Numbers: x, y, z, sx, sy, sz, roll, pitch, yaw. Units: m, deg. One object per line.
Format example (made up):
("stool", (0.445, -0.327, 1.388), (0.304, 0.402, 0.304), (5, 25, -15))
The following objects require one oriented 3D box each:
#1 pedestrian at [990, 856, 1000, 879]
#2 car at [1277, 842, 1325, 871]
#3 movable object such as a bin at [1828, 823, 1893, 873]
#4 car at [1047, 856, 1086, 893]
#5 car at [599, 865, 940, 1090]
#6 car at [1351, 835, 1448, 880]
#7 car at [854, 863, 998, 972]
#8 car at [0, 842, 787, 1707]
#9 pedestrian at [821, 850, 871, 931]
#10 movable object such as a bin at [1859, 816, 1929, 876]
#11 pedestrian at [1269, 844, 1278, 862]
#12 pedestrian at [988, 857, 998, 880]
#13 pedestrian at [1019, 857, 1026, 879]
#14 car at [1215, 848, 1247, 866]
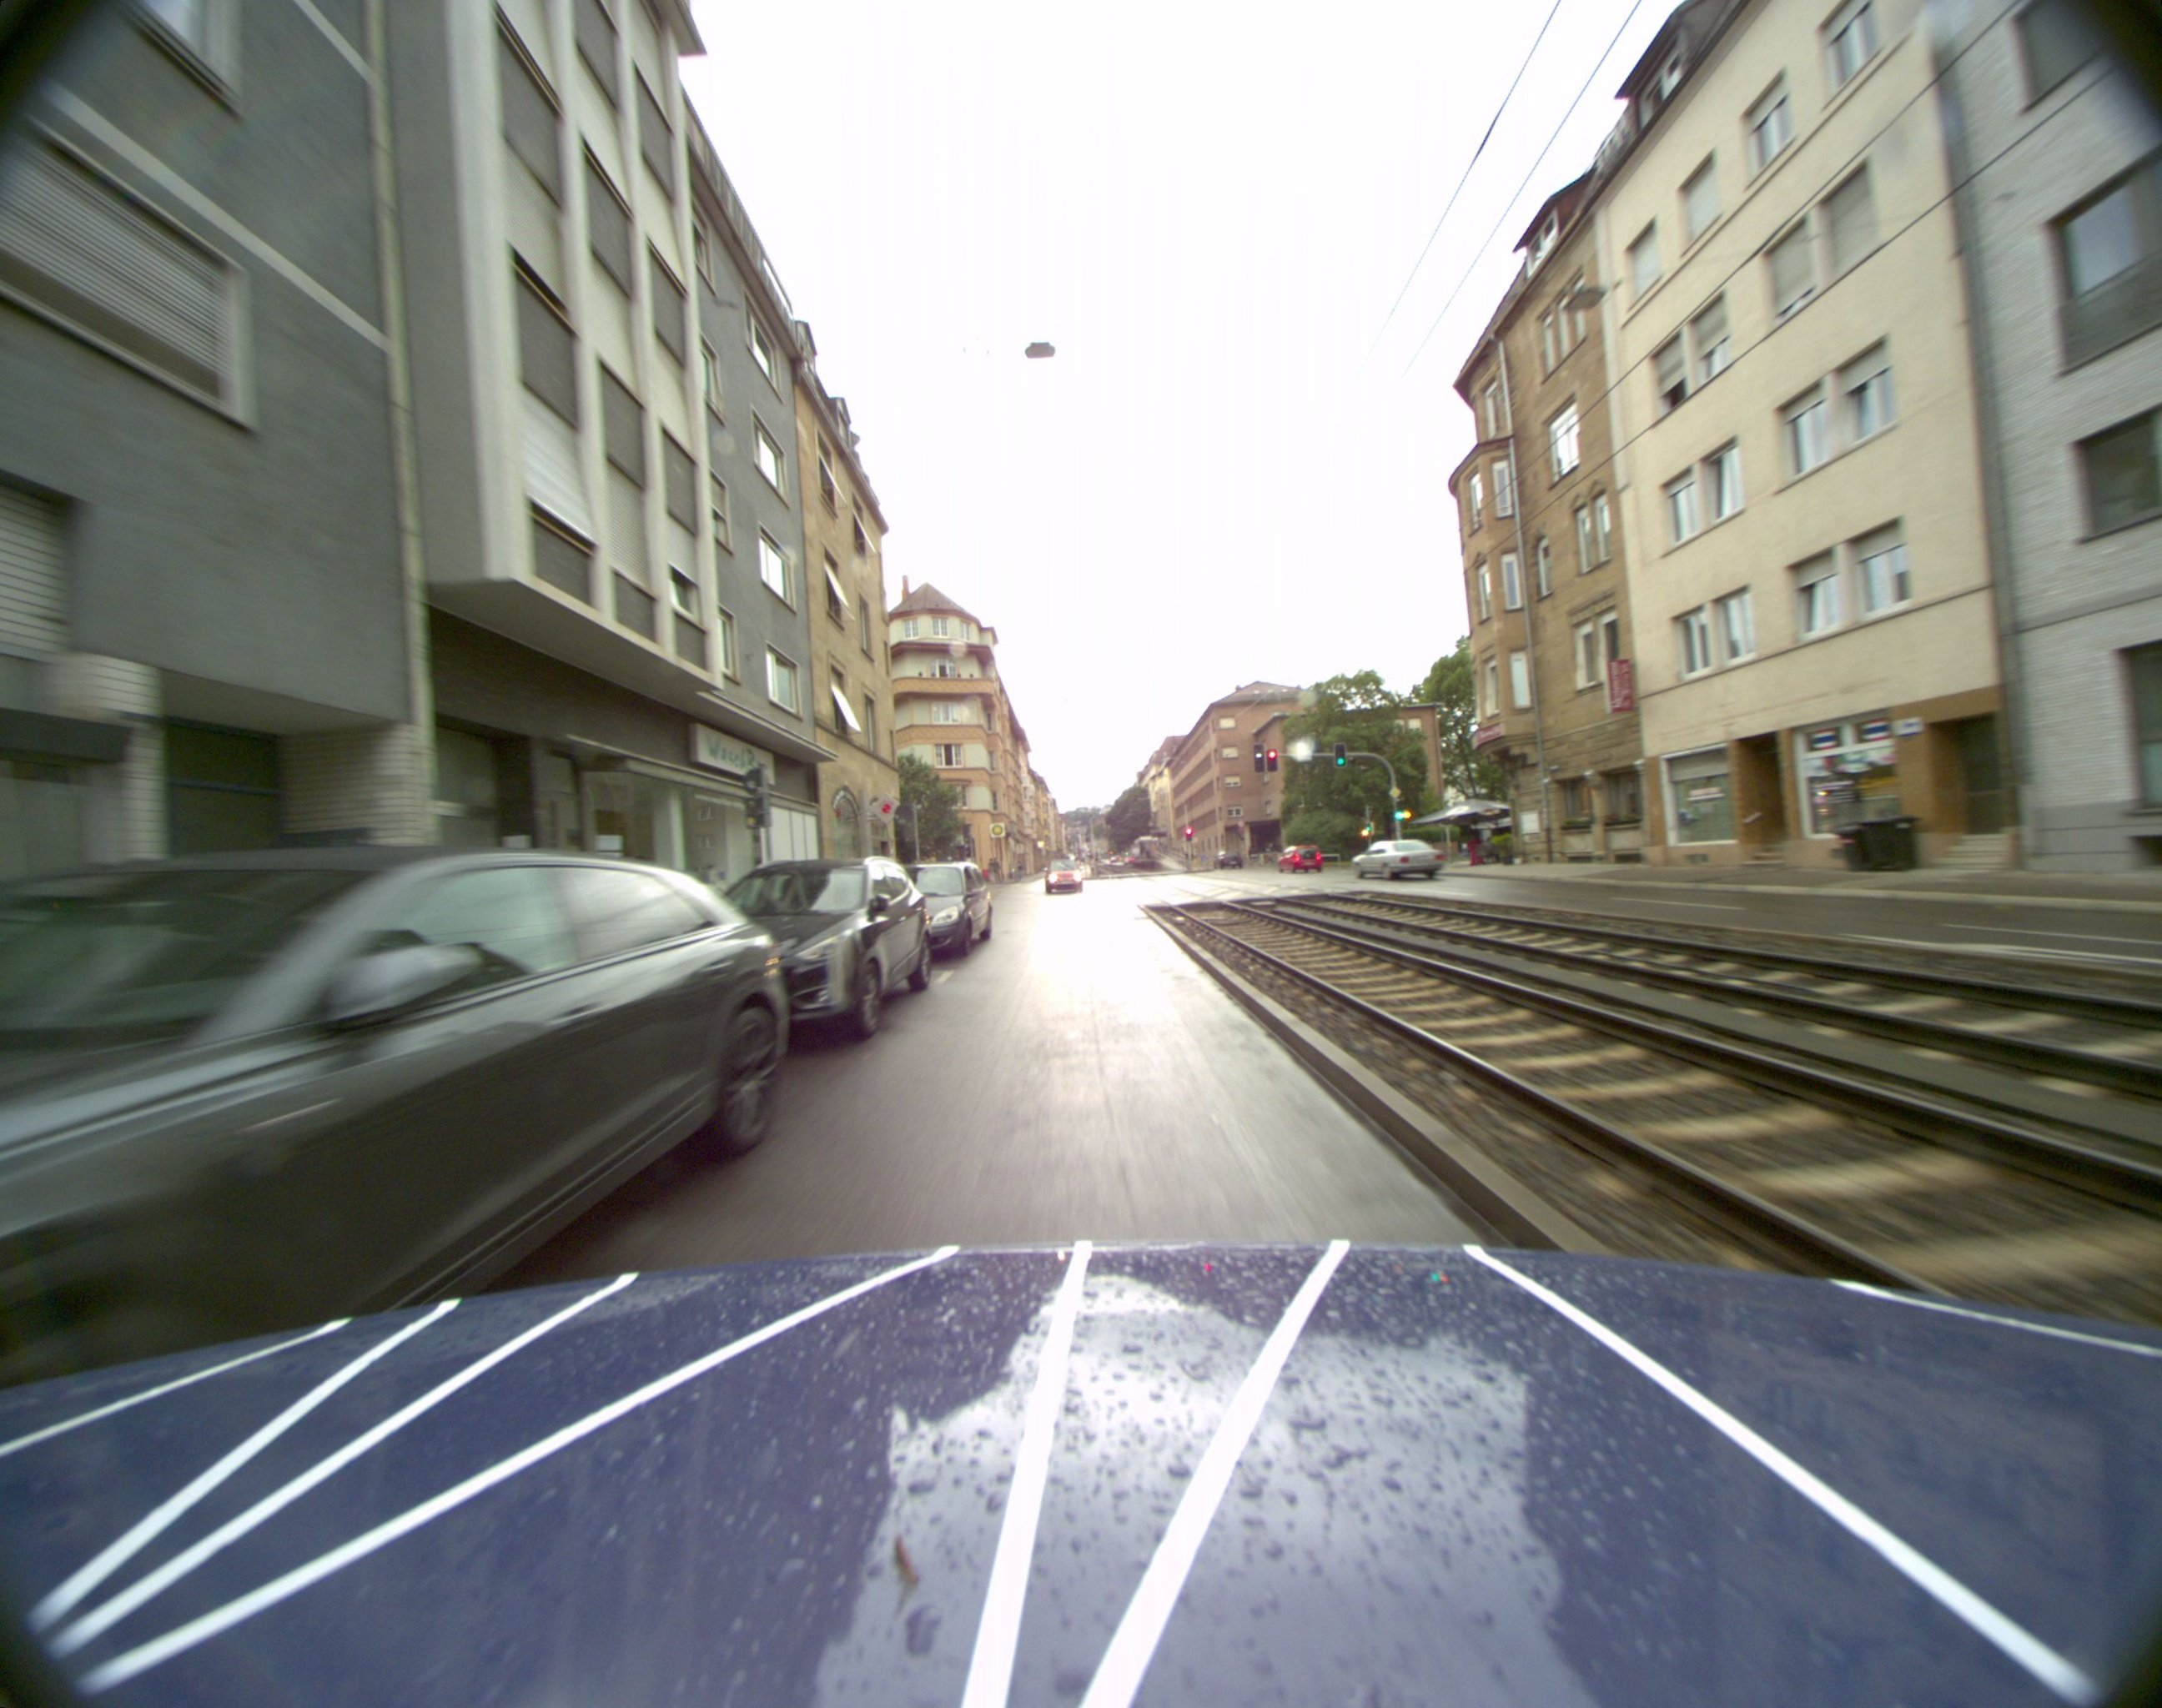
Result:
("pedestrian", (-6.111, 0.949, 54.241), (0.579, 1.563, 0.397), (-3, 1, -1))
("car", (12.096, 0.113, 41.973), (1.631, 1.442, 3.387), (-3, 0, 0))
("movable object such as a bin", (15.771, -0.114, 15.383), (0.631, 0.922, 0.563), (-8, 0, 0))
("car", (-0.649, 0.919, 35.793), (1.683, 1.531, 4.018), (-2, 0, 0))
("car", (-2.809, 0.988, 8.022), (1.822, 1.645, 4.250), (-1, 0, 0))
("car", (11.914, 0.113, 28.751), (1.717, 1.452, 4.643), (-3, 0, 1))
("car", (-2.672, 1.028, 14.133), (1.715, 1.604, 4.518), (-1, 0, 0))
("car", (-2.721, 0.904, 2.343), (1.797, 1.750, 4.565), (-3, 0, -1))
("pedestrian", (-5.475, 0.835, 17.741), (0.852, 1.807, 0.847), (-2, 1, 0))
("movable object such as a bin", (15.749, -0.156, 14.738), (0.631, 1.074, 0.563), (-8, 0, 0))
("pedestrian", (18.069, -0.081, 71.363), (0.623, 1.736, 0.464), (-1, 0, -3))
("pedestrian", (-6.245, 1.032, 53.881), (0.579, 1.563, 0.438), (-3, 1, -1))
("pedestrian", (-4.448, 1.090, 57.547), (0.437, 1.642, 0.579), (-3, 1, -1))
("car", (12.114, 0.206, 61.555), (1.781, 1.328, 3.945), (-3, 0, 0))
